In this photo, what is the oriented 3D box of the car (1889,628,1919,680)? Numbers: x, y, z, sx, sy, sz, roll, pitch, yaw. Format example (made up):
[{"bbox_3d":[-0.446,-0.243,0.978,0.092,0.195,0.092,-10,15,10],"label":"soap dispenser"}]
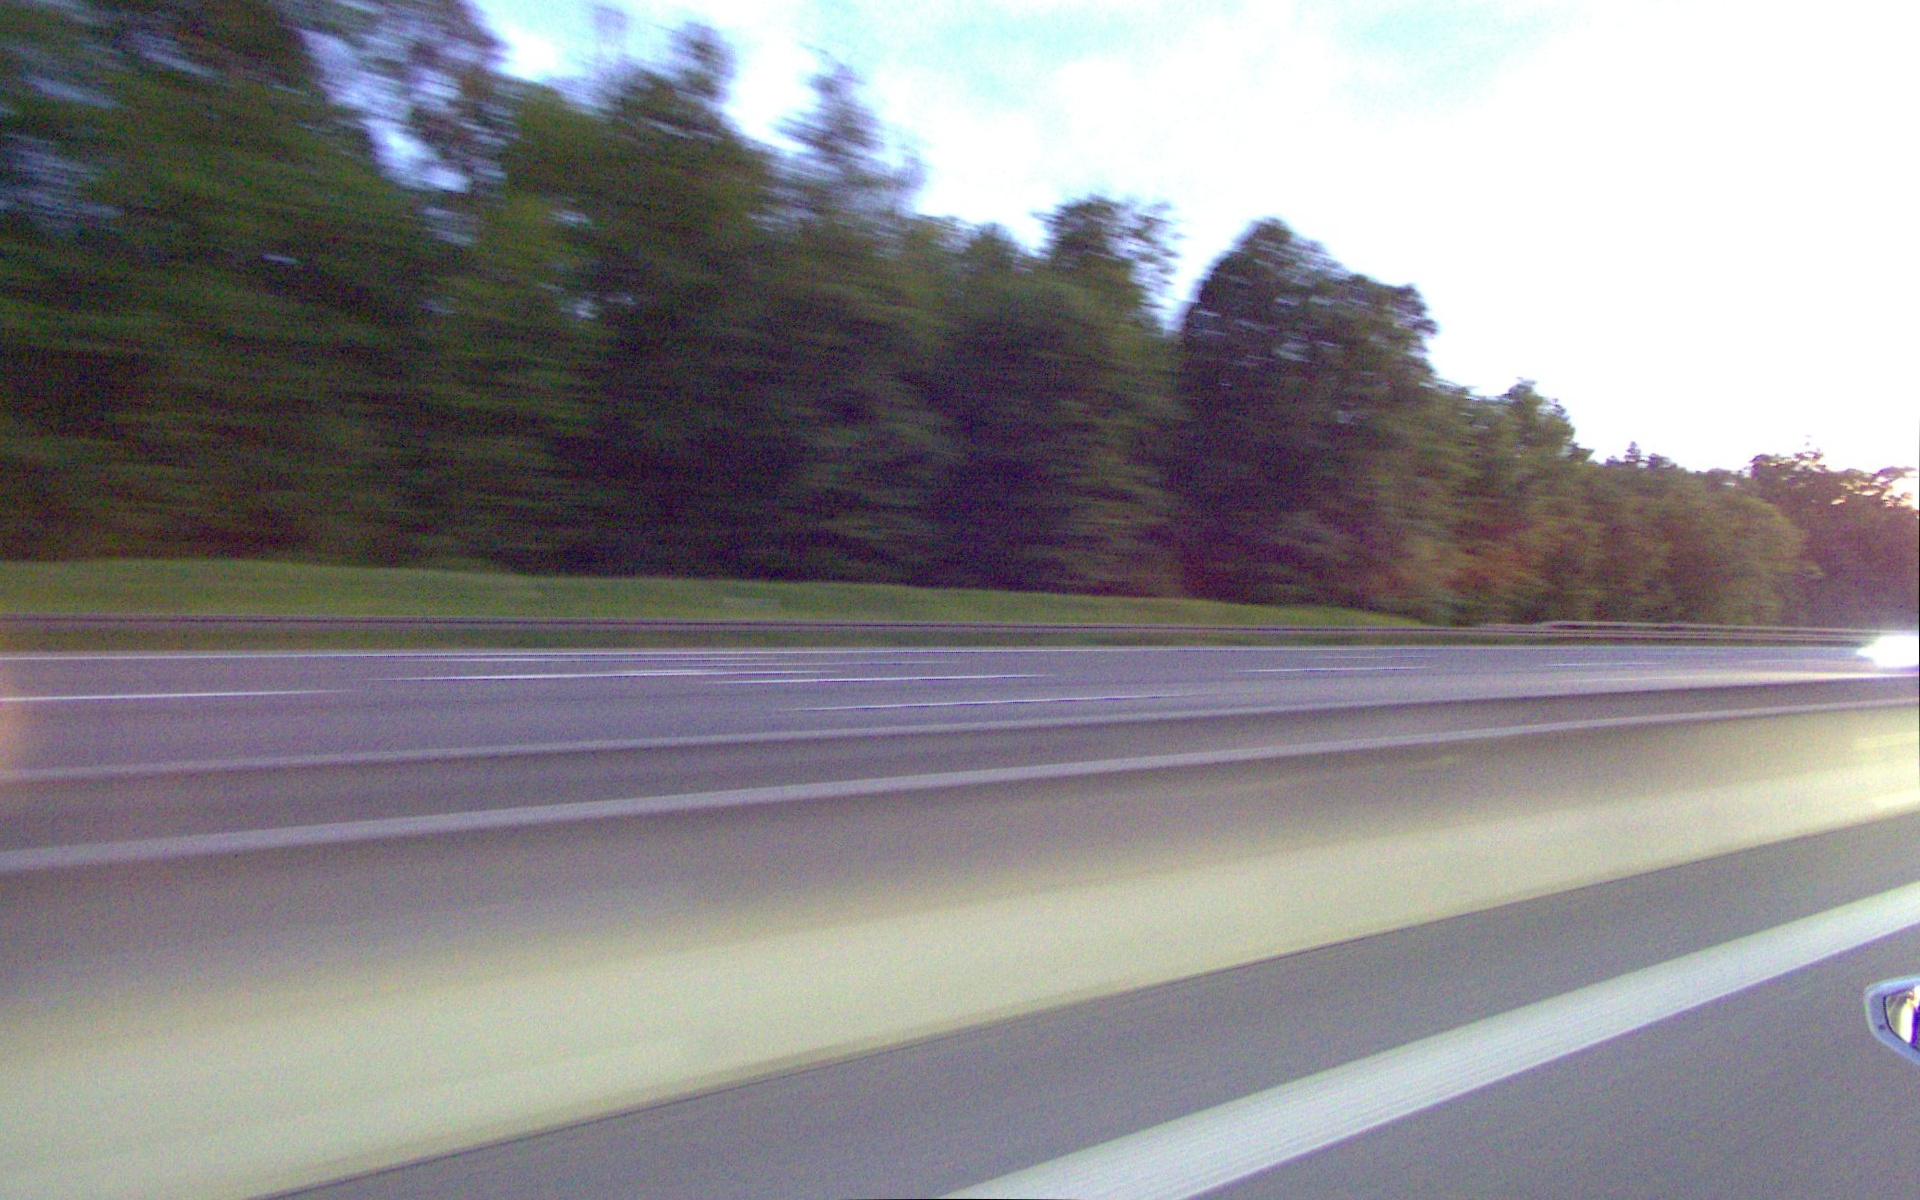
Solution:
[{"bbox_3d":[29.214,1.577,28.999,5.292,1.448,1.749,1,0,-26],"label":"car"}]
